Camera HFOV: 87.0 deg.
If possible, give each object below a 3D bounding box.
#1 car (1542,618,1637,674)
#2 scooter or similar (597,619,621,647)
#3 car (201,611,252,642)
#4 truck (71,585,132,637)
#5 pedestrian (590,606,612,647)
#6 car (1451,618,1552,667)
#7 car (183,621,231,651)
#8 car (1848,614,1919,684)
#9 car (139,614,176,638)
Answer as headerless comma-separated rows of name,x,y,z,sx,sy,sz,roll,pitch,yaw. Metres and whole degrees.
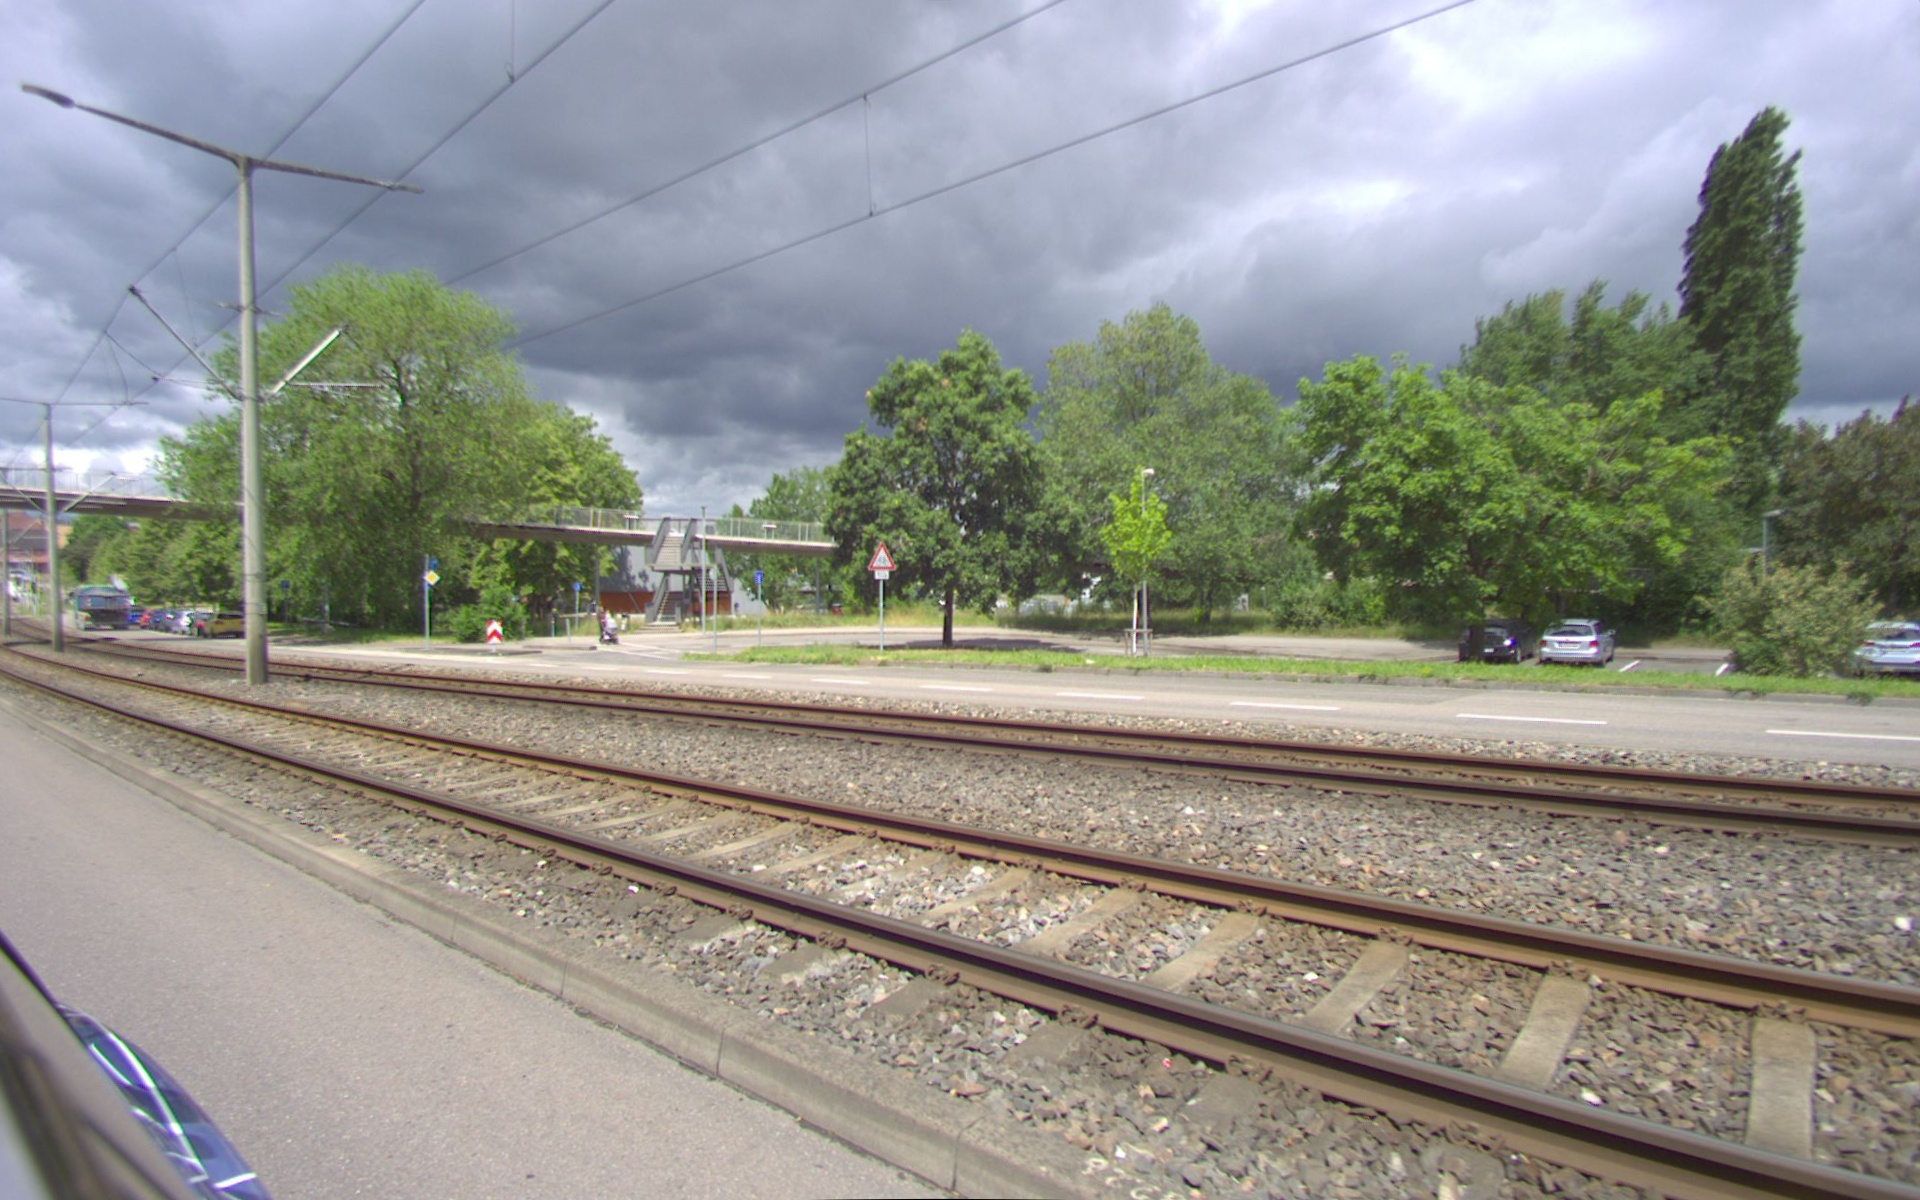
car,19.791,1.389,31.780,3.823,1.401,1.575,-3,3,-43
scooter or similar,-15.353,1.431,44.310,0.702,1.155,0.788,-3,3,-44
car,-40.076,1.414,55.277,1.670,1.461,3.901,-3,4,-45
truck,-60.794,0.681,71.610,2.837,3.344,9.041,-3,3,-42
pedestrian,-16.032,1.192,45.240,0.653,1.768,0.718,-3,3,-44
car,18.099,1.378,33.767,3.917,1.286,1.780,-3,3,-43
car,-43.616,2.044,58.618,1.670,1.461,3.901,-3,4,-45
car,25.240,1.265,27.282,1.842,1.592,3.874,-2,1,42
car,-55.614,1.807,70.122,1.539,1.608,4.163,1,-1,-45
